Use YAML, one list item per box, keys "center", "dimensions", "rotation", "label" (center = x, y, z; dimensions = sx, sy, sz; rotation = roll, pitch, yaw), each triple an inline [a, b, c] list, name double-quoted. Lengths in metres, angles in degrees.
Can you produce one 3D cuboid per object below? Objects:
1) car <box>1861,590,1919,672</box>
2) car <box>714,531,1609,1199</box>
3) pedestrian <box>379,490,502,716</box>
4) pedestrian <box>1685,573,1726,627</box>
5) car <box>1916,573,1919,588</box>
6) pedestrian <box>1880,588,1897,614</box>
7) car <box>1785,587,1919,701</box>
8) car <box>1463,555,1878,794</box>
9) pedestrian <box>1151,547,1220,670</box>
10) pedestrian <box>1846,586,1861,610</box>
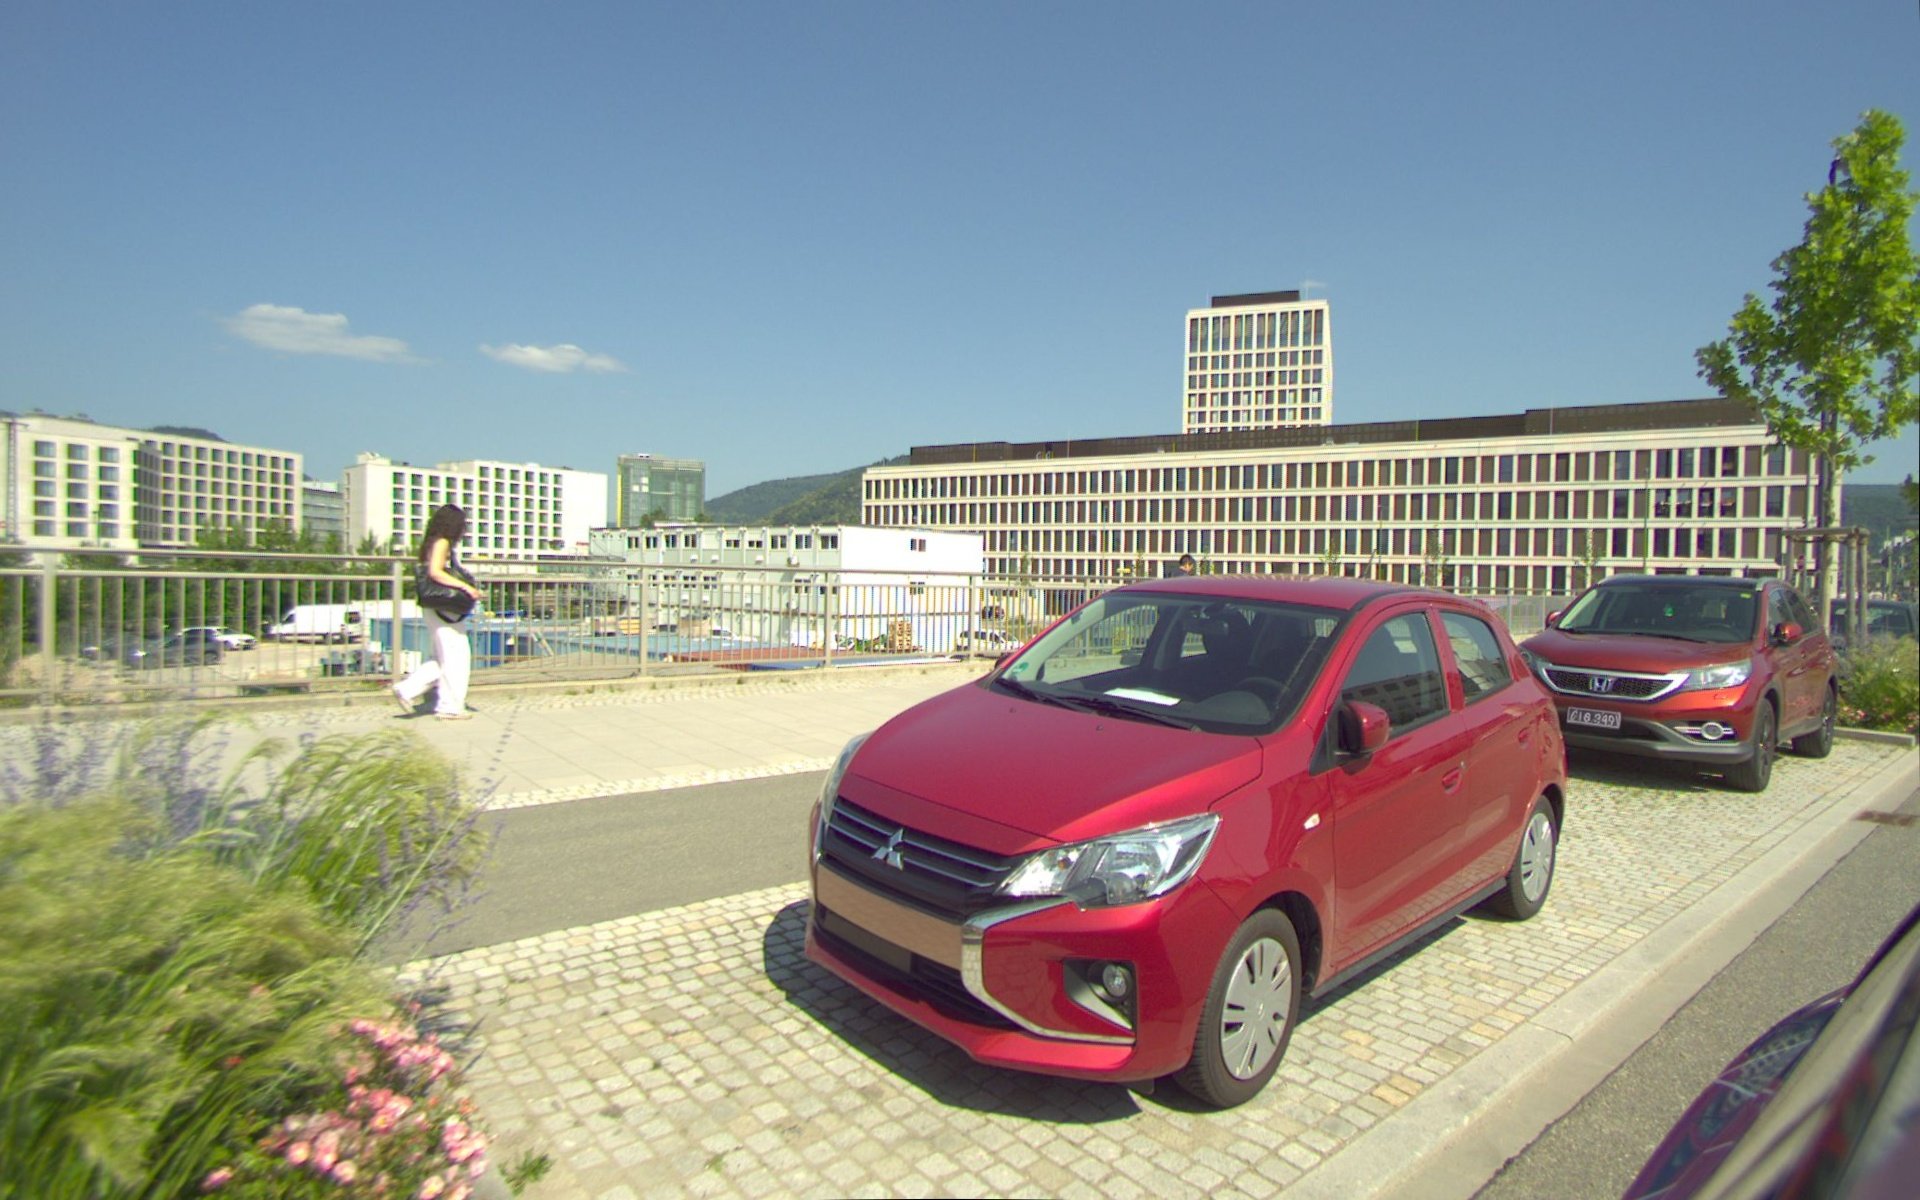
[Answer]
- center: [19.541, 0.608, 20.033]
  dimensions: [4.083, 1.497, 1.913]
  rotation: [1, 2, -39]
  label: "car"
- center: [1.105, 0.566, 4.076]
  dimensions: [3.754, 1.510, 1.606]
  rotation: [0, 3, -43]
  label: "car"
- center: [-4.254, 0.006, 8.277]
  dimensions: [0.729, 1.726, 0.782]
  rotation: [-1, 2, -40]
  label: "pedestrian"
- center: [23.667, -0.004, 32.128]
  dimensions: [0.932, 1.628, 0.752]
  rotation: [0, 4, -41]
  label: "pedestrian"
- center: [101.150, -2.068, 105.583]
  dimensions: [1.804, 1.527, 3.942]
  rotation: [0, 1, 41]
  label: "car"
- center: [68.112, 0.052, 74.264]
  dimensions: [0.877, 1.849, 1.639]
  rotation: [1, 1, 42]
  label: "pedestrian"
- center: [13.946, 0.597, 15.249]
  dimensions: [3.755, 1.497, 1.624]
  rotation: [1, 1, -40]
  label: "car"
- center: [6.524, 0.495, 9.095]
  dimensions: [4.466, 1.637, 1.913]
  rotation: [1, 1, -40]
  label: "car"
- center: [3.278, 0.108, 14.739]
  dimensions: [0.639, 1.726, 0.733]
  rotation: [-1, 1, -40]
  label: "pedestrian"
- center: [68.802, -0.187, 77.916]
  dimensions: [0.823, 1.805, 0.913]
  rotation: [3, 3, 41]
  label: "pedestrian"
